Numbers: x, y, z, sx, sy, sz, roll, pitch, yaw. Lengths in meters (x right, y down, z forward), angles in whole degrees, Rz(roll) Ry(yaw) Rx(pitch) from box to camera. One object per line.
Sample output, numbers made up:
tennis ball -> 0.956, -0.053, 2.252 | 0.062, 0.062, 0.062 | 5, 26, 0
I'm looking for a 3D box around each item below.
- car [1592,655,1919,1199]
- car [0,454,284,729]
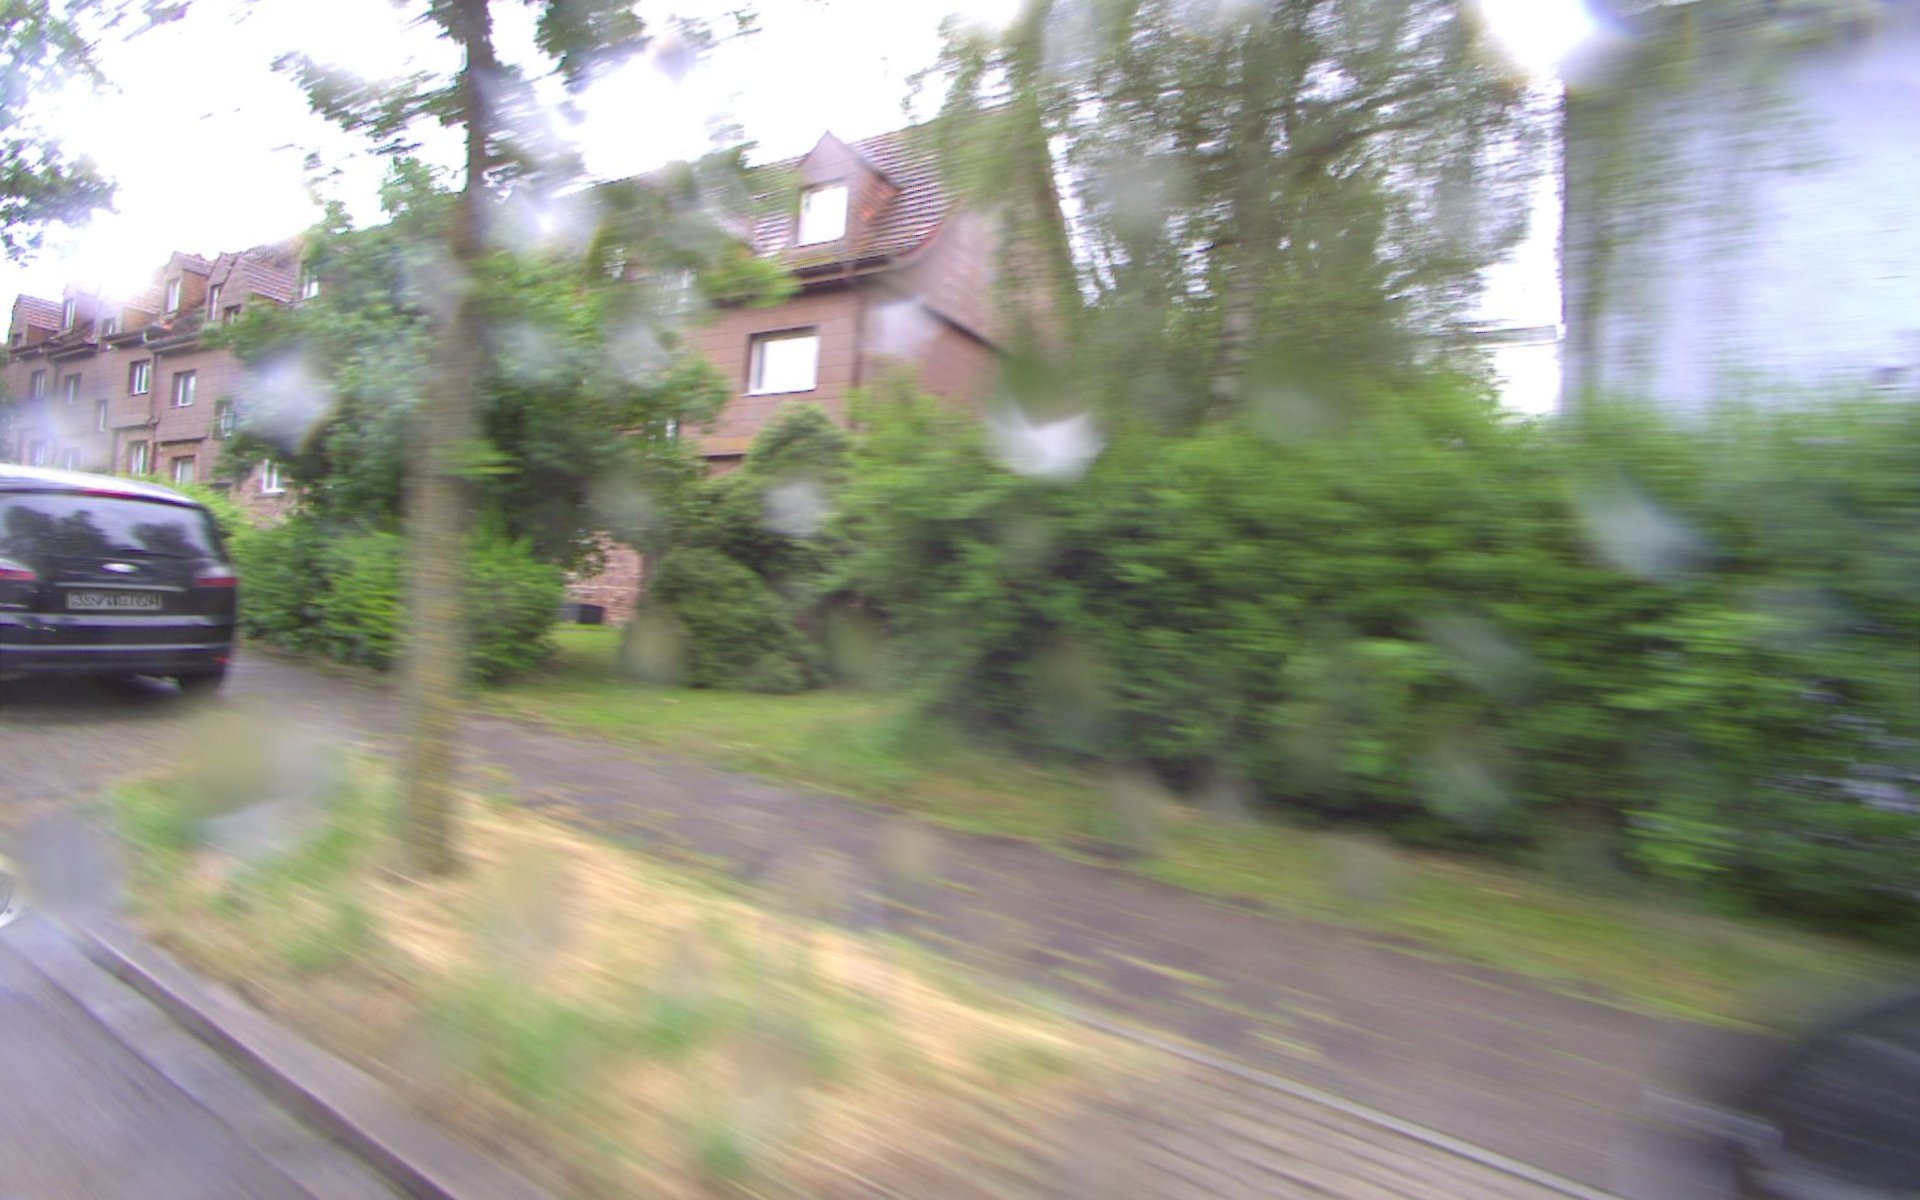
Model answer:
car -> 3.116, 1.080, 1.250 | 3.722, 1.531, 1.724 | 7, 1, 30
car -> -7.487, -0.236, 7.957 | 4.509, 1.699, 1.825 | 7, 2, 32
